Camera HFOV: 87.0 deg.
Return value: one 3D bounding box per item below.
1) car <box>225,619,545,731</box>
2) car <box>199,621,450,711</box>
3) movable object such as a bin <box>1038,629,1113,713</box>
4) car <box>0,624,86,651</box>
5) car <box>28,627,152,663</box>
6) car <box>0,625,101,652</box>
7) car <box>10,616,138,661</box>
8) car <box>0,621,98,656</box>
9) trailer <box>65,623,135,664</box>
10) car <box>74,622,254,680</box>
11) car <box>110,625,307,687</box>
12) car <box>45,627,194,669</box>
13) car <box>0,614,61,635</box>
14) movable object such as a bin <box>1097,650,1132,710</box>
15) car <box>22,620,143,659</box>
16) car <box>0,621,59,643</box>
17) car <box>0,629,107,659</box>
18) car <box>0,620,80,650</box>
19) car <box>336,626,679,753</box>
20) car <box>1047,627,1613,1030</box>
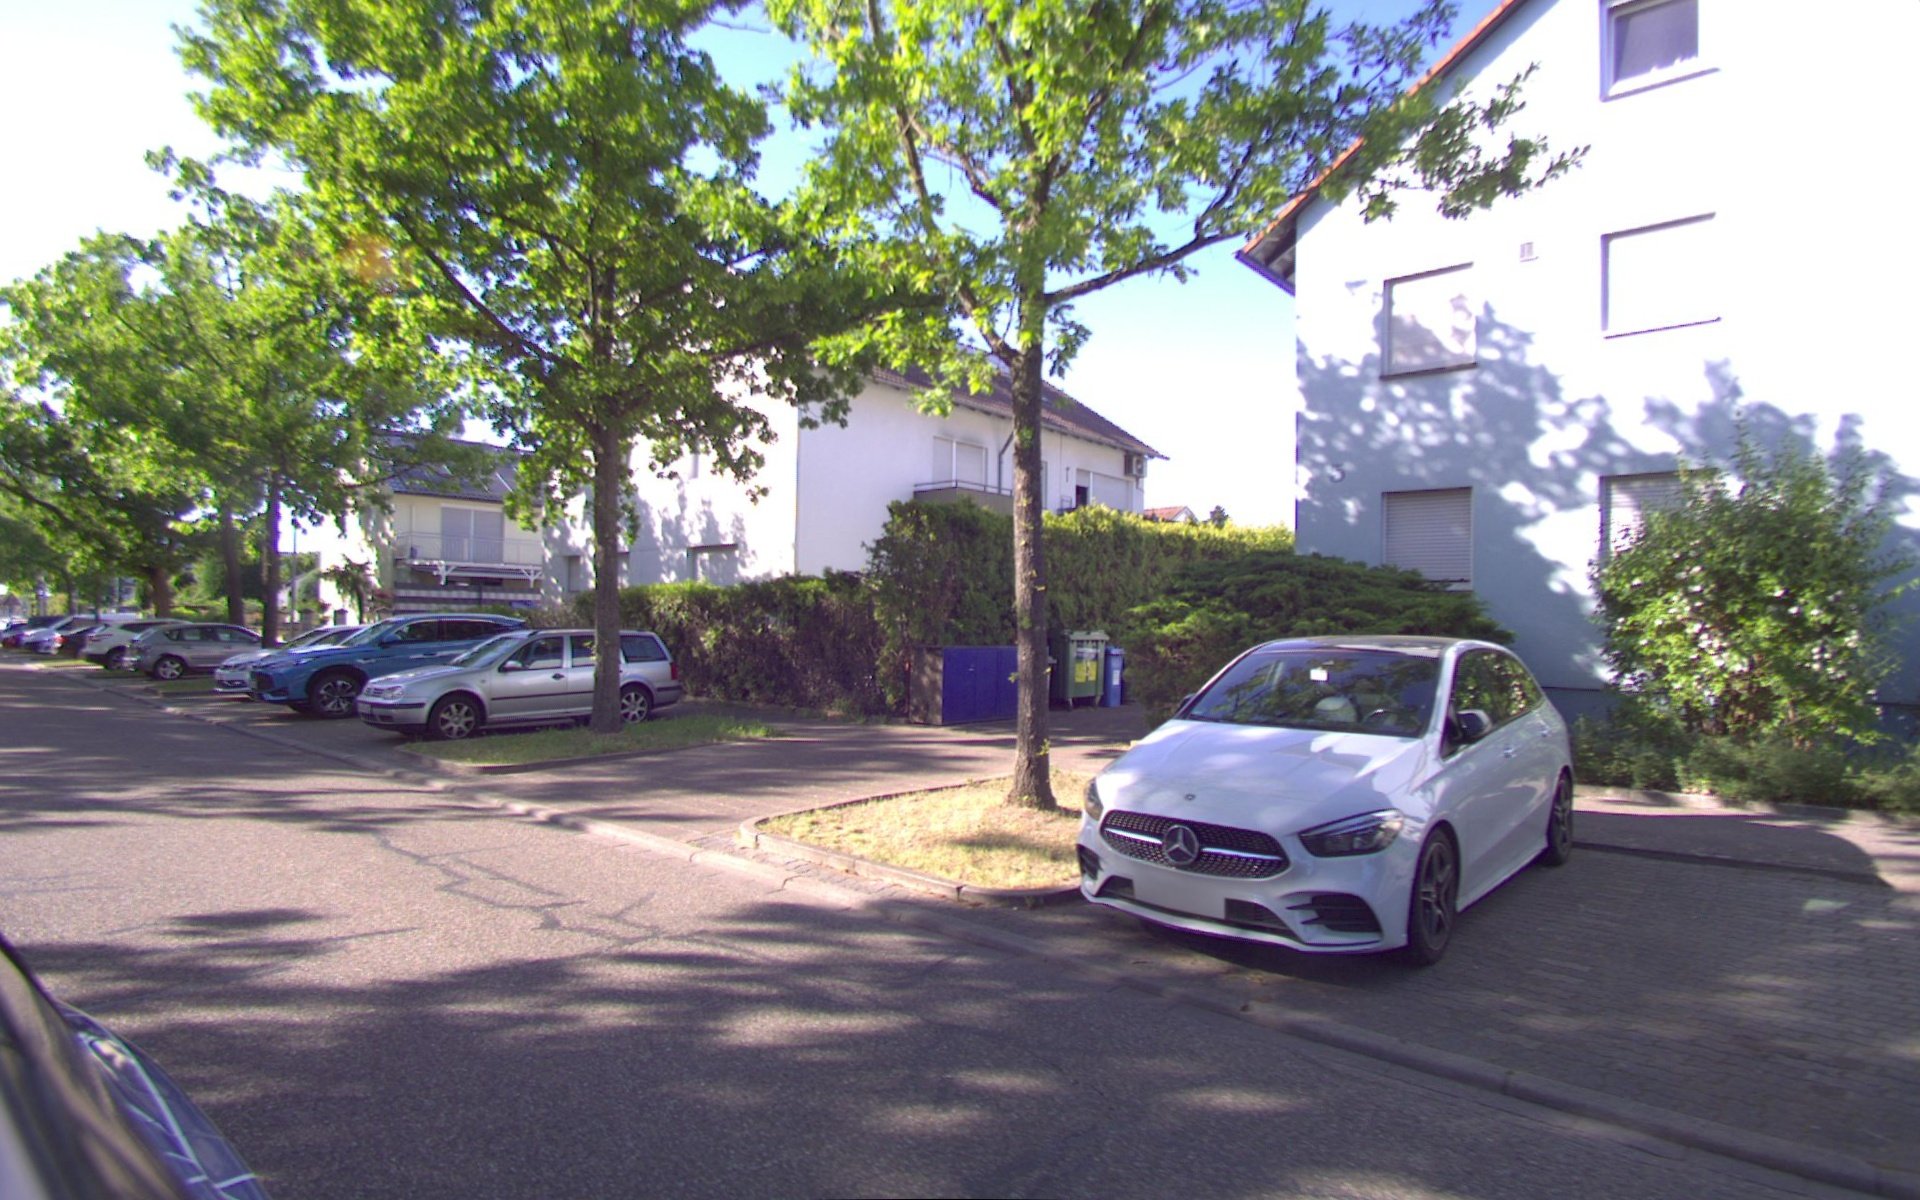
[{"bbox_3d":[-9.802,1.173,17.515,1.938,1.643,4.473,-1,-1,44],"label":"car"},{"bbox_3d":[-12.987,1.379,20.849,1.857,1.607,3.943,1,-4,43],"label":"car"},{"bbox_3d":[1.961,1.178,17.106,0.692,1.361,1.216,0,-2,41],"label":"movable object such as a bin"},{"bbox_3d":[-57.272,2.364,63.181,3.955,1.526,1.796,4,-5,-44],"label":"car"},{"bbox_3d":[-38.738,1.990,45.151,1.689,1.528,3.946,-1,-3,40],"label":"car"},{"bbox_3d":[-51.764,2.155,57.515,1.721,1.435,4.231,-1,-1,38],"label":"car"},{"bbox_3d":[-40.827,1.775,46.701,1.999,1.959,4.192,-1,-3,41],"label":"car"},{"bbox_3d":[-49.975,2.063,54.959,1.795,1.782,4.622,-2,-1,43],"label":"car"},{"bbox_3d":[-37.007,1.868,43.572,2.209,1.686,1.476,2,-3,-43],"label":"trailer"},{"bbox_3d":[-24.220,1.490,30.878,1.792,1.579,4.140,-2,-1,44],"label":"car"},{"bbox_3d":[-20.234,1.447,27.365,1.809,1.434,3.992,-1,0,41],"label":"car"},{"bbox_3d":[-31.441,1.795,37.932,4.161,1.483,1.692,2,-3,-45],"label":"car"},{"bbox_3d":[-70.515,1.859,76.646,1.708,1.507,3.476,-2,-3,43],"label":"car"},{"bbox_3d":[2.721,1.401,17.835,0.355,1.031,0.585,-1,-3,41],"label":"movable object such as a bin"},{"bbox_3d":[-42.464,1.860,49.023,1.966,1.783,4.194,-1,-1,41],"label":"car"},{"bbox_3d":[-72.215,2.466,77.942,1.920,1.586,3.915,0,0,38],"label":"car"},{"bbox_3d":[-48.075,2.294,53.434,1.837,1.511,4.427,-1,-3,43],"label":"car"},{"bbox_3d":[-55.350,2.078,60.360,1.761,1.737,4.163,-1,-1,44],"label":"car"},{"bbox_3d":[-6.228,1.134,14.316,1.646,1.503,4.138,-1,-1,42],"label":"car"},{"bbox_3d":[2.507,0.945,6.115,1.768,1.489,4.230,-1,-1,42],"label":"car"}]
